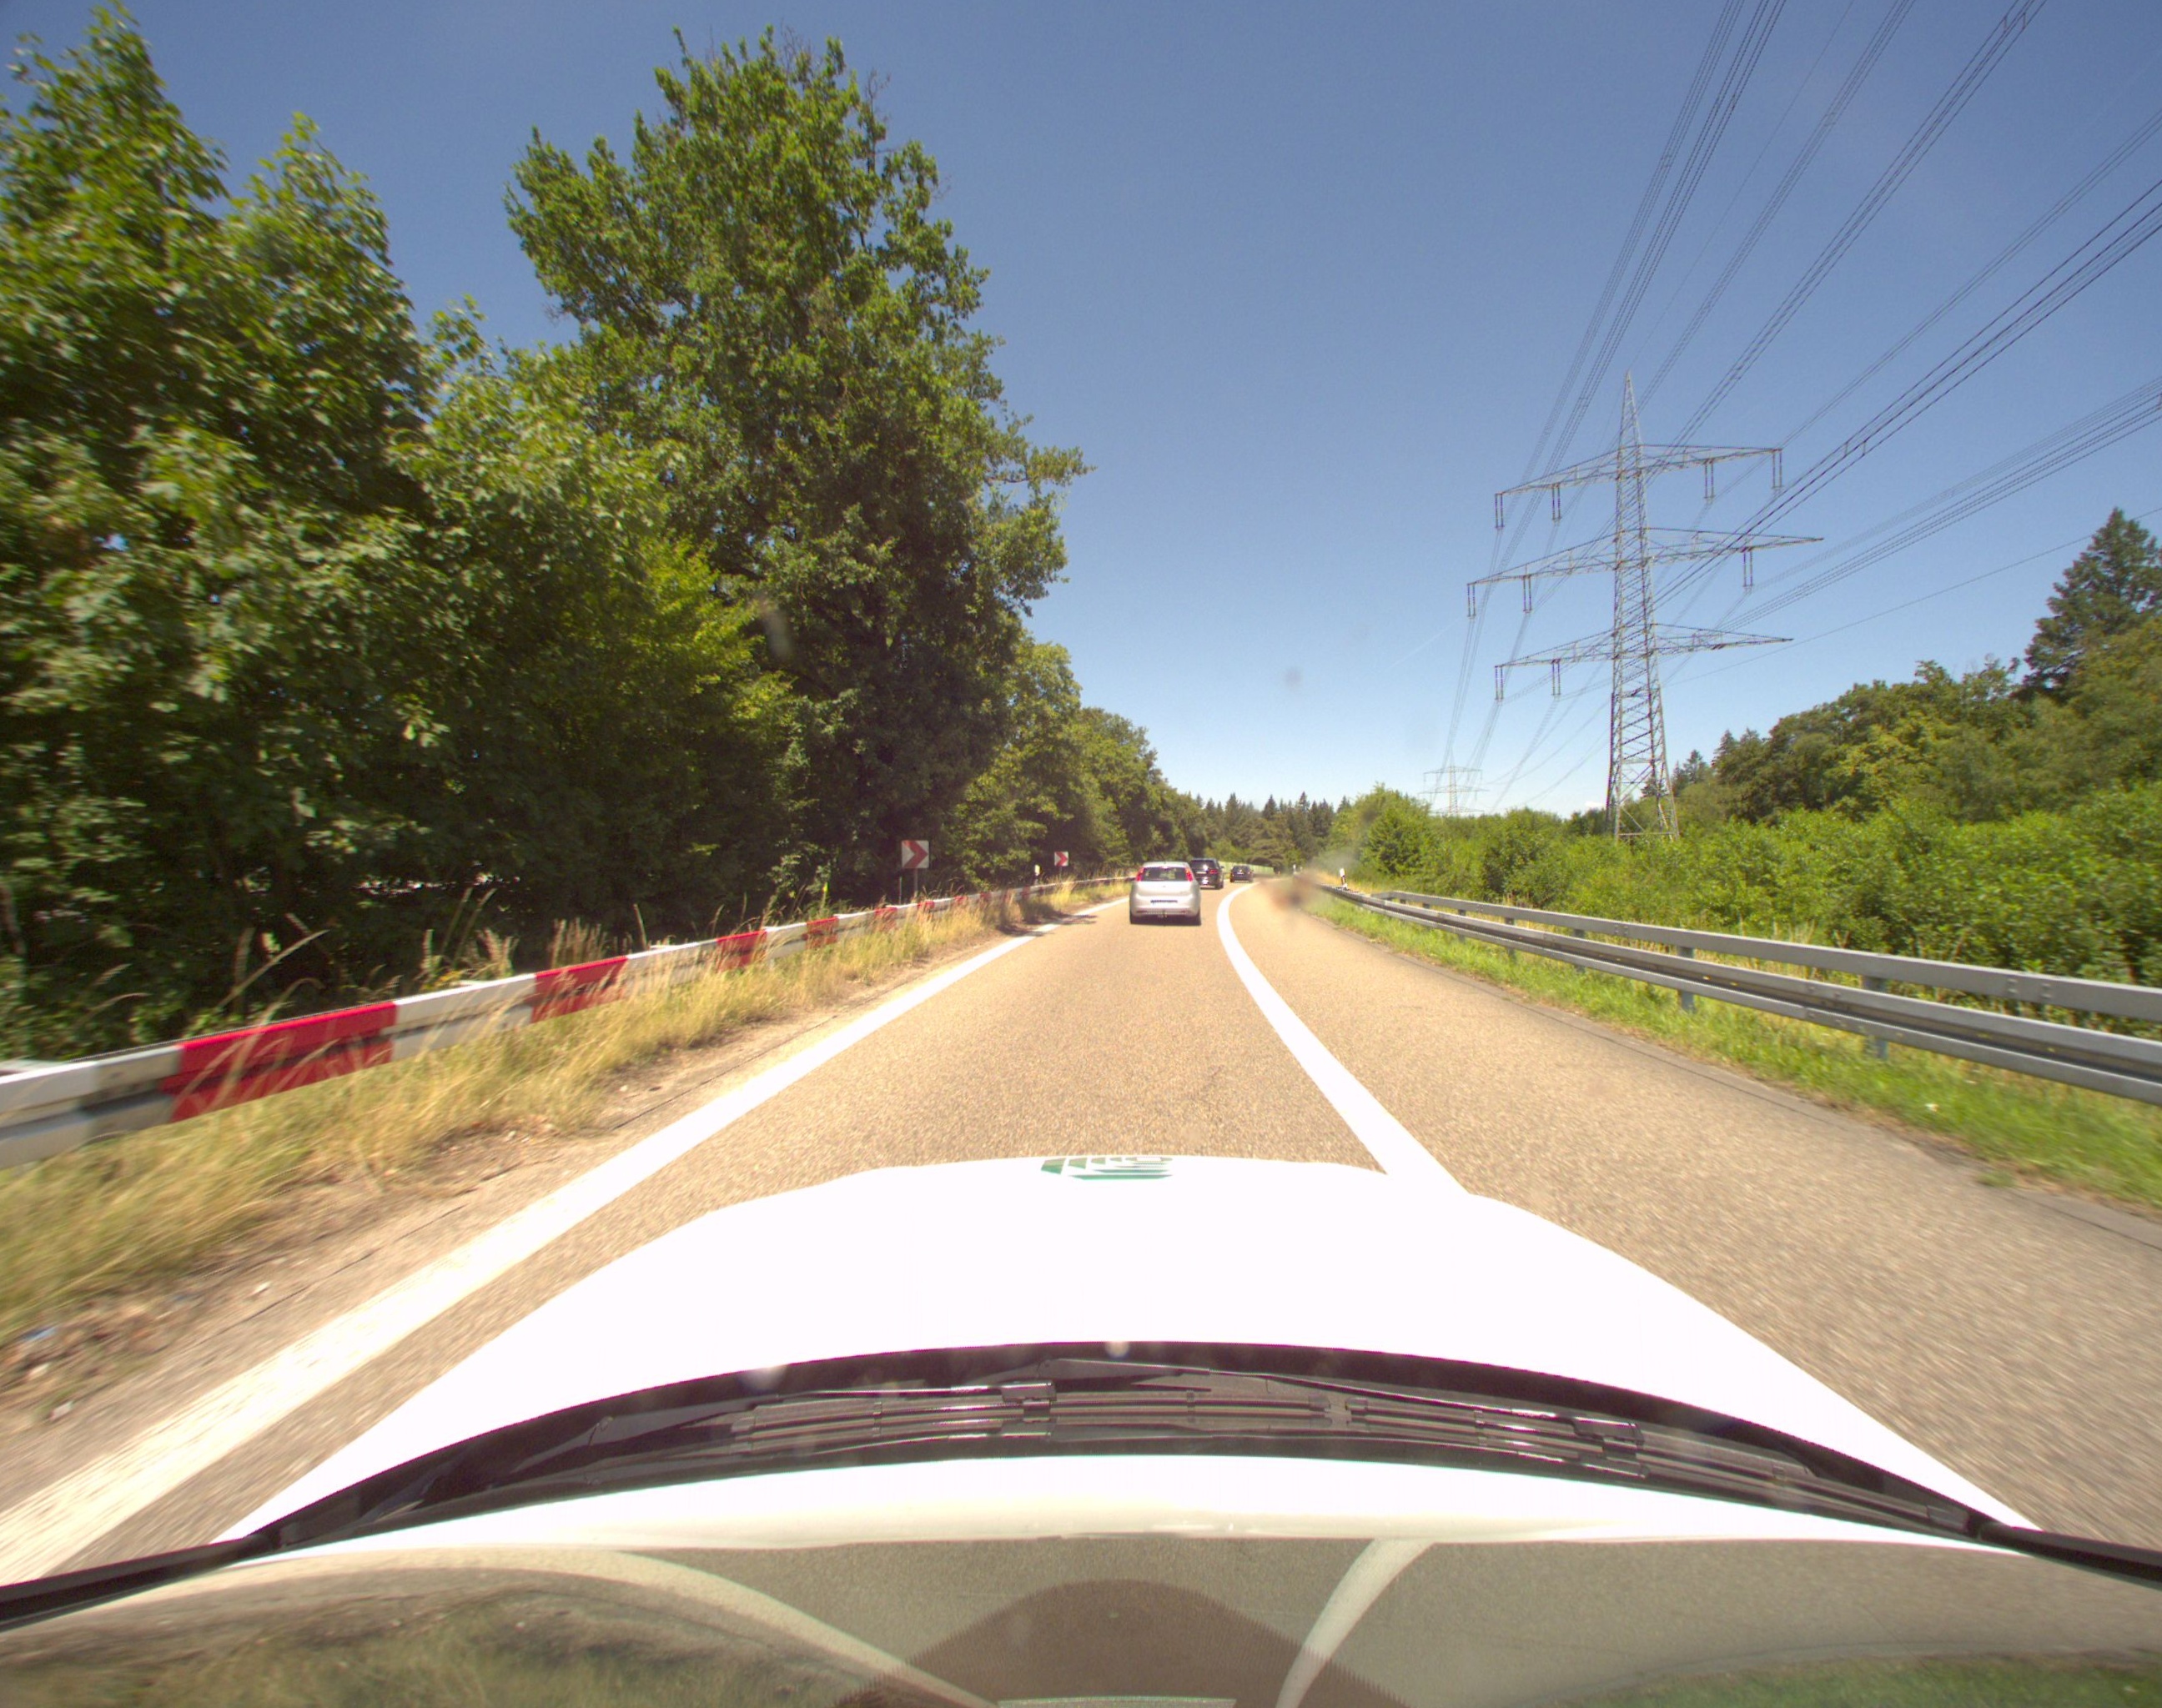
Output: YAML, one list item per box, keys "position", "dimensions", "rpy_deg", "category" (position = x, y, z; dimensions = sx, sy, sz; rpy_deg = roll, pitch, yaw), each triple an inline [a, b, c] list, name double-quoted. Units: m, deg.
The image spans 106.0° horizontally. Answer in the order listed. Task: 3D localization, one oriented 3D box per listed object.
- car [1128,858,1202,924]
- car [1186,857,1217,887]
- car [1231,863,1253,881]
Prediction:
- position: [2.158, 0.864, 20.177]
  dimensions: [1.631, 1.468, 3.427]
  rpy_deg: [1, -1, 9]
  category: "car"
- position: [6.894, 1.001, 46.274]
  dimensions: [1.630, 1.654, 3.583]
  rpy_deg: [1, -1, 9]
  category: "car"
- position: [13.330, 1.467, 67.161]
  dimensions: [1.629, 1.343, 3.586]
  rpy_deg: [1, -1, 13]
  category: "car"
